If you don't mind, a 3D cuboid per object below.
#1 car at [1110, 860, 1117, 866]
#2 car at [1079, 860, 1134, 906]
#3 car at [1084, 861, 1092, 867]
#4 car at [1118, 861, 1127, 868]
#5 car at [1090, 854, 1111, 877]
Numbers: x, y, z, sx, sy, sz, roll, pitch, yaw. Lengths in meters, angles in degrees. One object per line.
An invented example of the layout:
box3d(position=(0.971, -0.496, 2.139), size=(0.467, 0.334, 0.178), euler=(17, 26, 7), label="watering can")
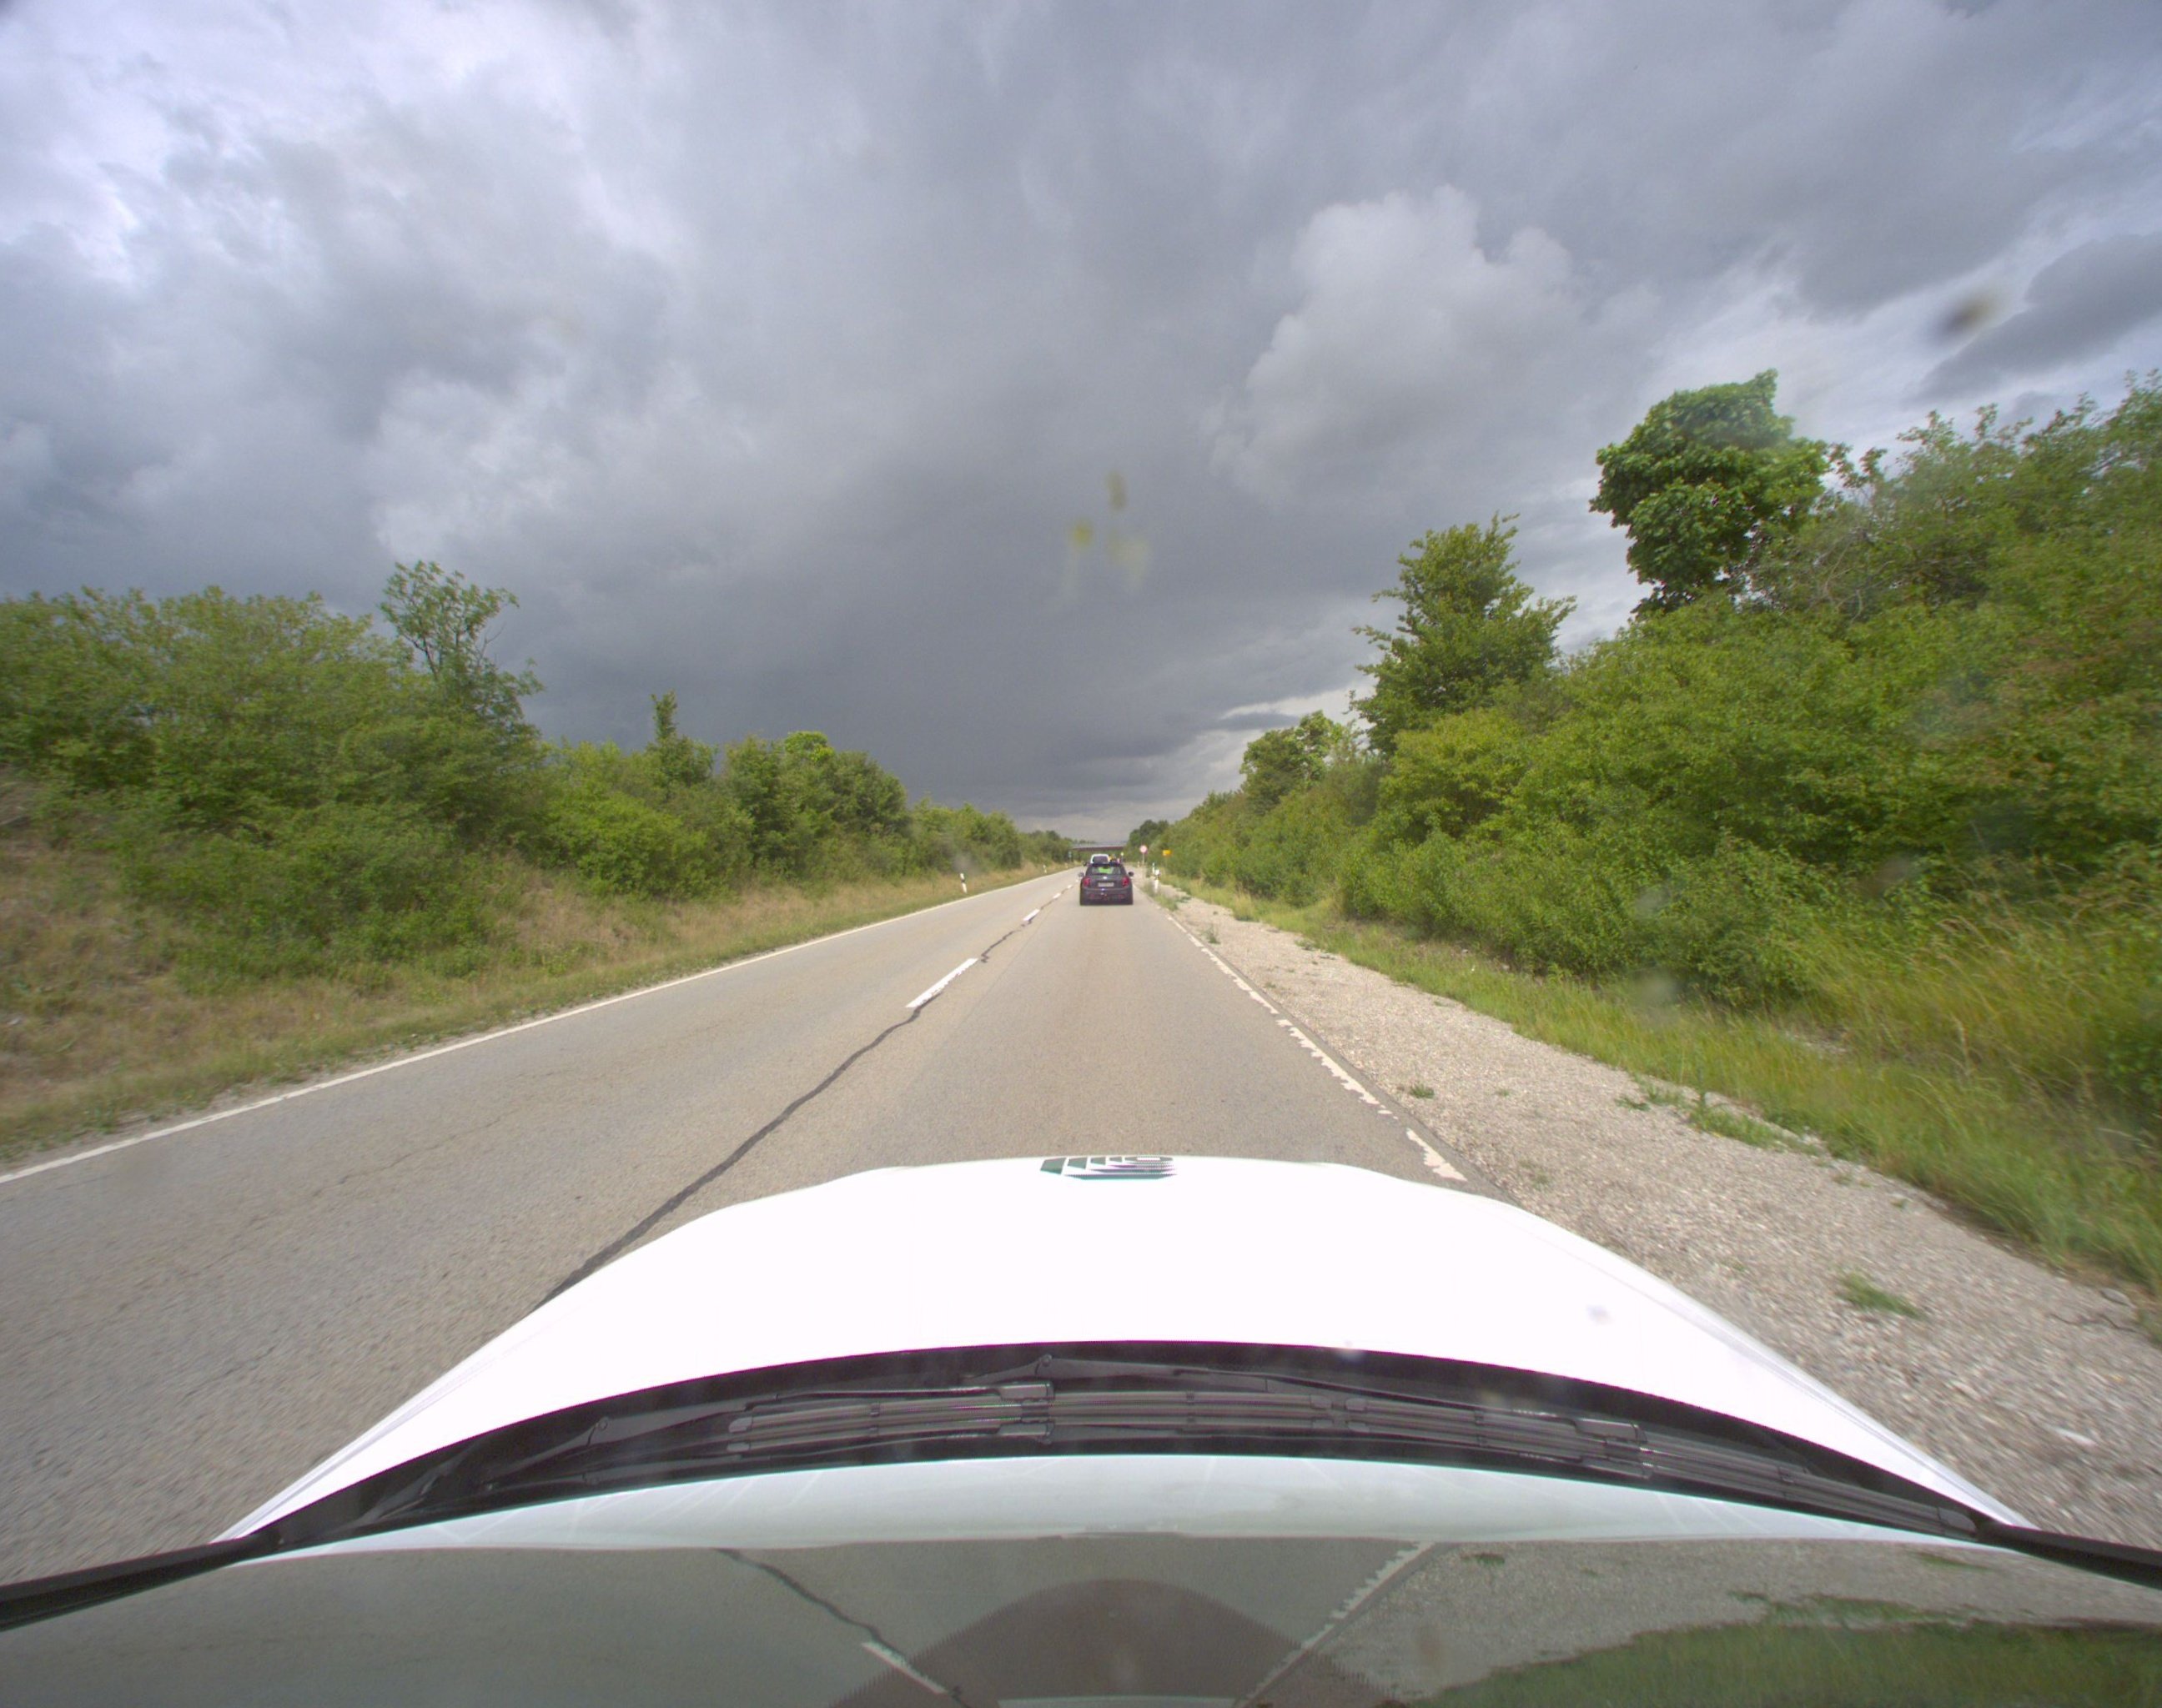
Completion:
box3d(position=(9.314, 2.650, 231.801), size=(1.775, 1.706, 3.999), euler=(-1, -1, 0), label="car")
box3d(position=(0.866, 0.936, 27.833), size=(1.750, 1.427, 4.001), euler=(-1, -1, 1), label="car")
box3d(position=(1.539, 2.275, 184.895), size=(1.695, 1.330, 4.001), euler=(-2, -1, 1), label="car")
box3d(position=(10.535, 2.645, 205.512), size=(1.987, 1.552, 3.998), euler=(-1, -1, -1), label="car")
box3d(position=(1.781, 1.016, 73.935), size=(1.813, 2.055, 4.001), euler=(-1, -1, 1), label="car")
